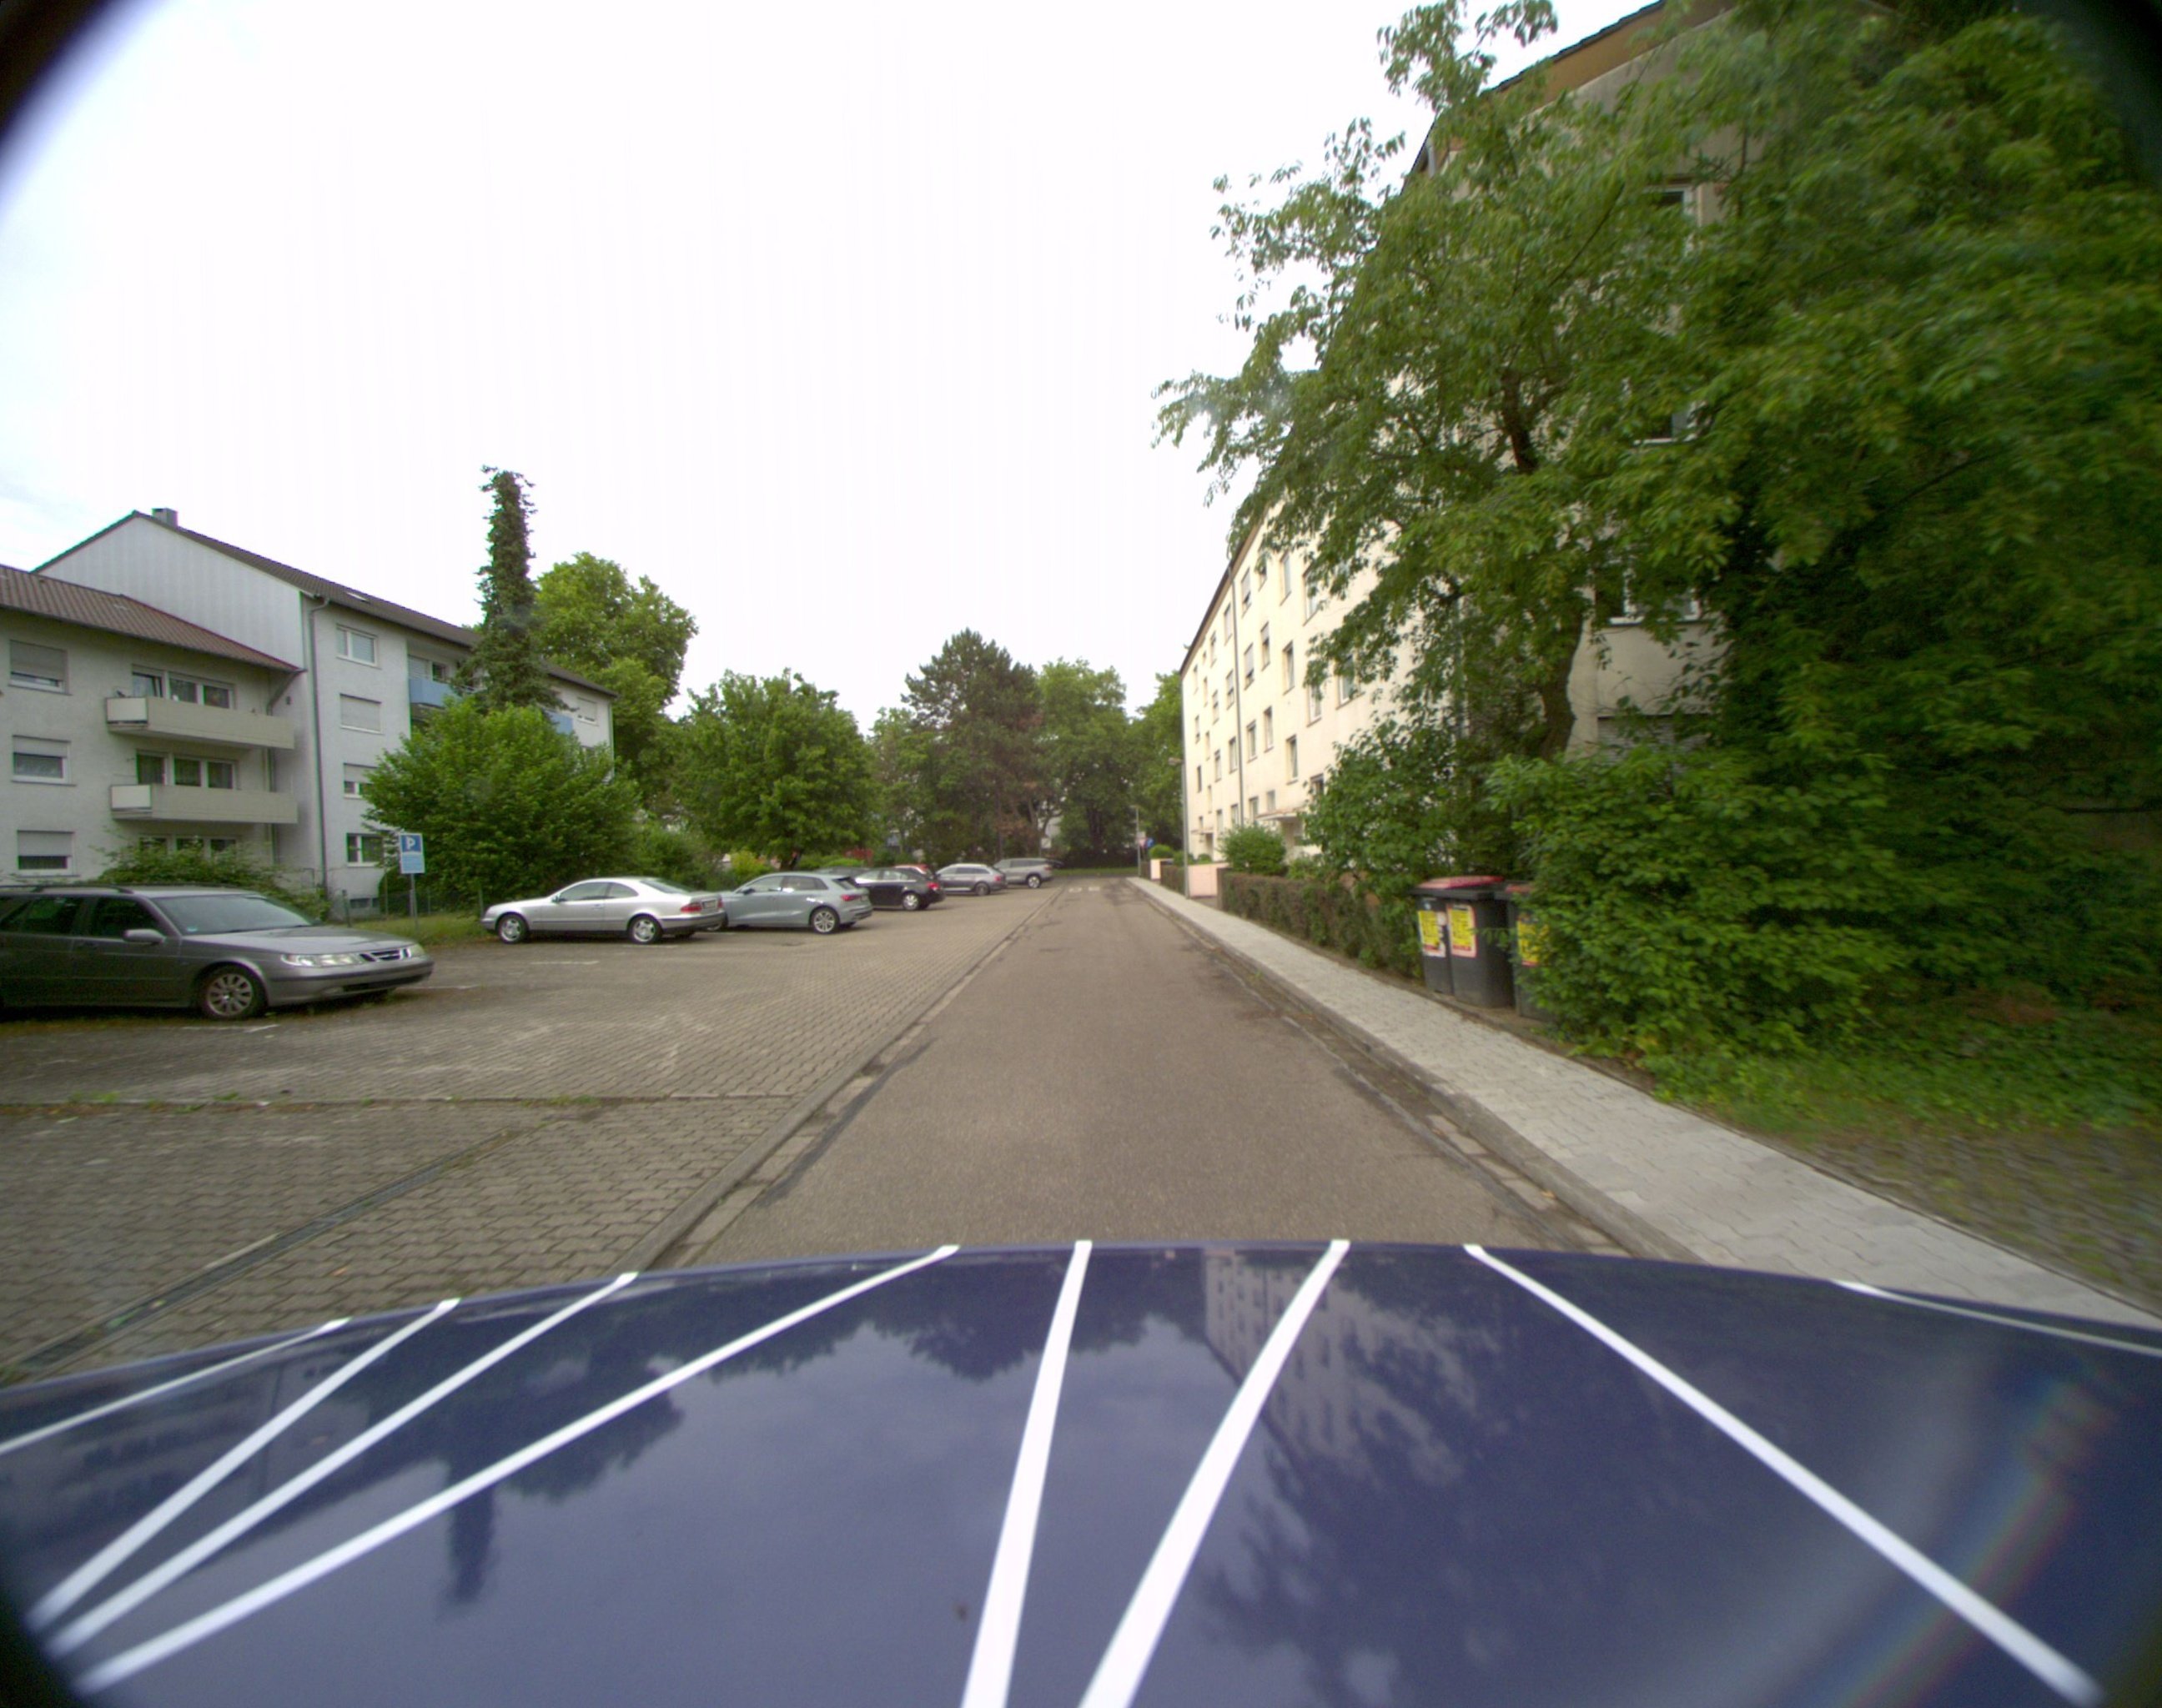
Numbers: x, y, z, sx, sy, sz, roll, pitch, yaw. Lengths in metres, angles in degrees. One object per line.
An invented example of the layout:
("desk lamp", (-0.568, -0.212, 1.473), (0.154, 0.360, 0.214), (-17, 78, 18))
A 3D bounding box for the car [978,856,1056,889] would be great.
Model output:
("car", (-3.476, 0.997, 41.735), (4.104, 1.636, 1.787), (-2, 0, 0))

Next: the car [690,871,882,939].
("car", (-7.097, 1.202, 18.564), (3.976, 1.426, 1.731), (-2, 0, -2))

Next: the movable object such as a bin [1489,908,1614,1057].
("movable object such as a bin", (3.533, 0.935, 5.730), (0.597, 1.016, 0.536), (0, 0, -19))

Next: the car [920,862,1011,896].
("car", (-5.536, 1.208, 36.740), (4.104, 1.476, 1.787), (-2, 0, 0))

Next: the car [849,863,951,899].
("car", (-8.113, 1.201, 34.291), (4.103, 1.476, 1.788), (1, 0, 1))

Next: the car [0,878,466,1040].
("car", (-10.237, 1.134, 8.808), (4.586, 1.521, 1.866), (-2, 0, -2))

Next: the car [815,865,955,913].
("car", (-6.700, 1.181, 26.238), (4.334, 1.476, 1.788), (1, 0, 1))

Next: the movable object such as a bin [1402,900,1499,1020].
("movable object such as a bin", (3.404, 0.949, 7.016), (0.597, 1.016, 0.536), (0, 0, -19))

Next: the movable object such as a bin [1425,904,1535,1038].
("movable object such as a bin", (3.318, 0.948, 6.338), (0.597, 1.016, 0.536), (0, 0, -19))

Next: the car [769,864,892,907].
("car", (-9.557, 1.187, 29.215), (4.103, 1.476, 1.788), (1, 0, 1))

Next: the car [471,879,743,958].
("car", (-9.803, 1.305, 16.019), (4.403, 1.377, 2.026), (-2, 0, -2))
